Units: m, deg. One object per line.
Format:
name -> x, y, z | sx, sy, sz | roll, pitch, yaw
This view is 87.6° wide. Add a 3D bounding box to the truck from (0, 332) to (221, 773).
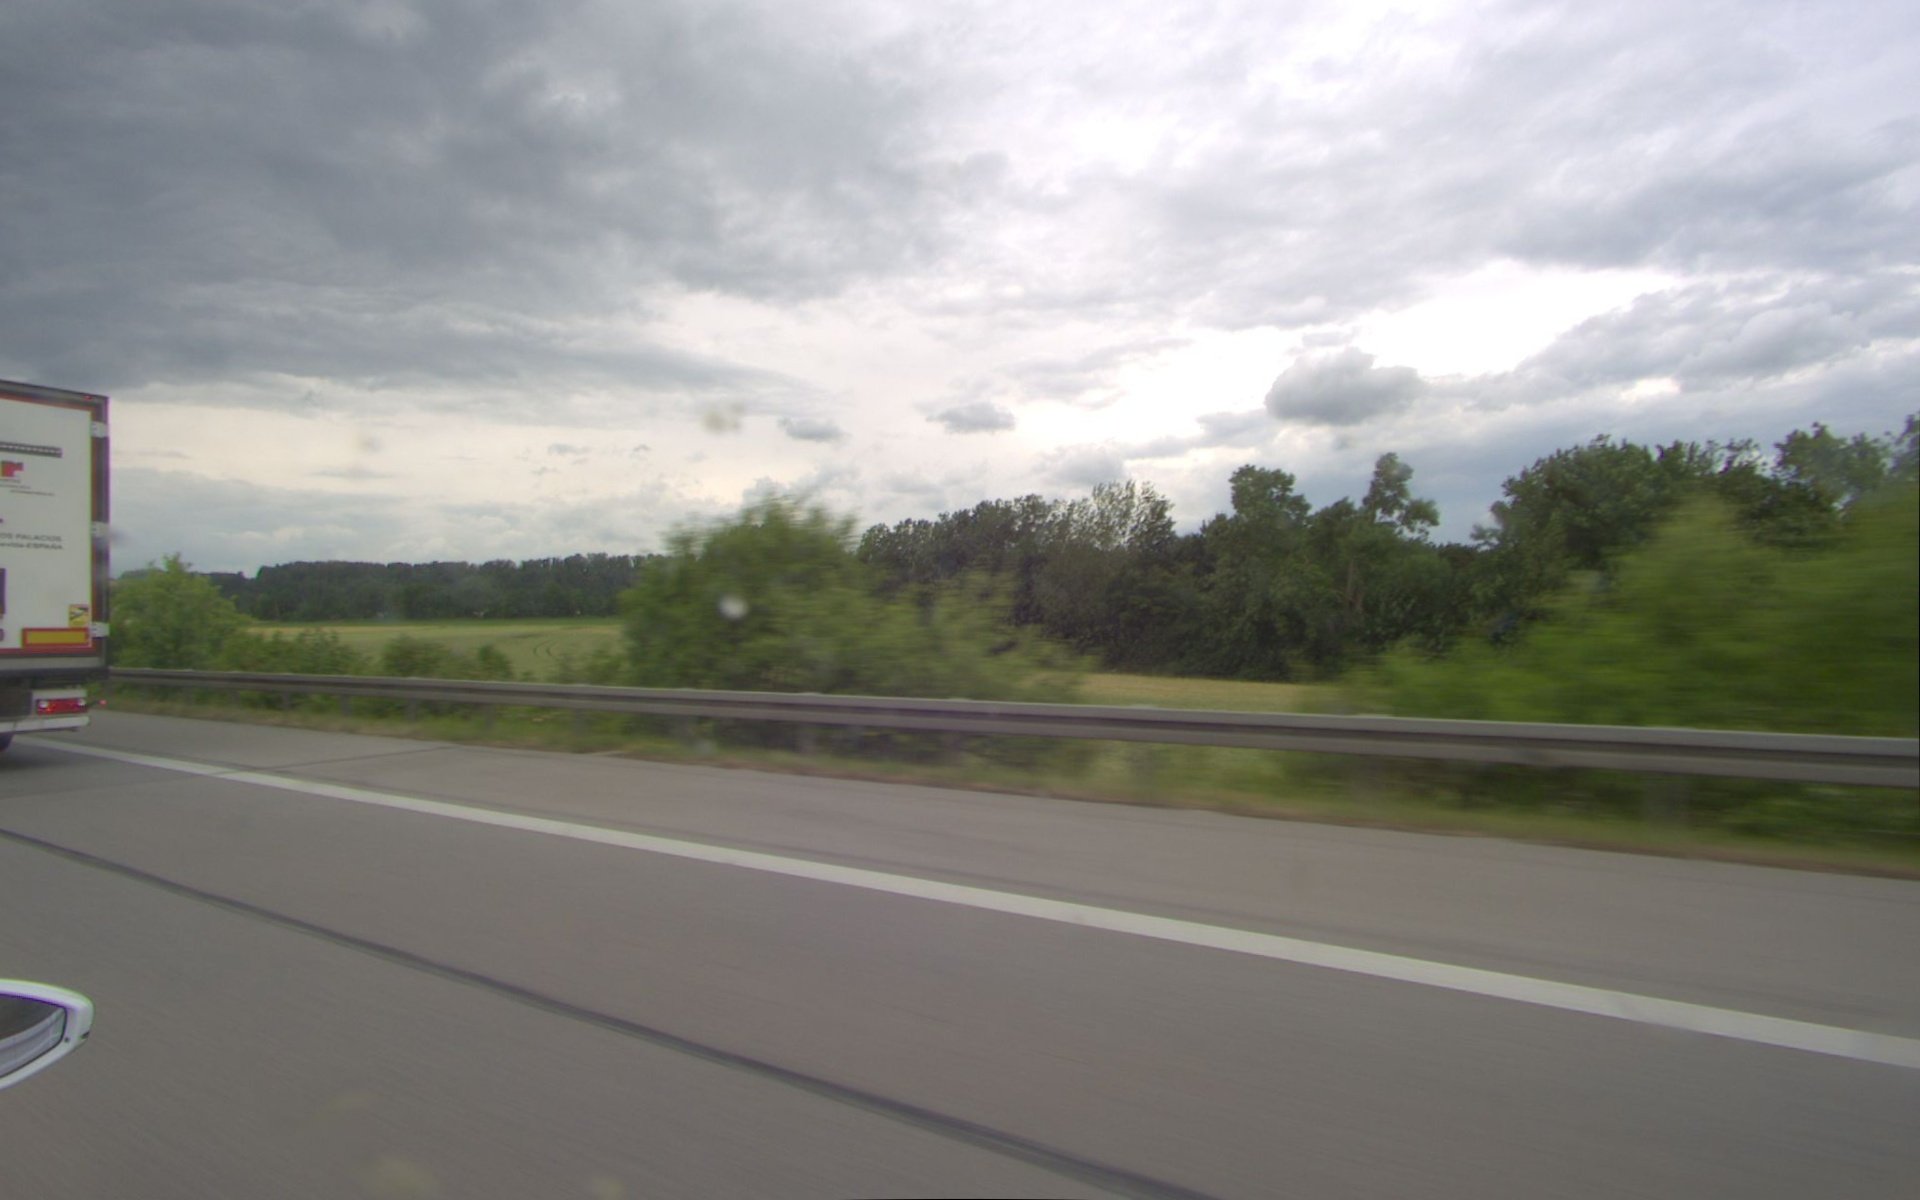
truck -> -16.520, -0.416, 14.490 | 16.103, 4.470, 3.666 | 0, 0, 32
